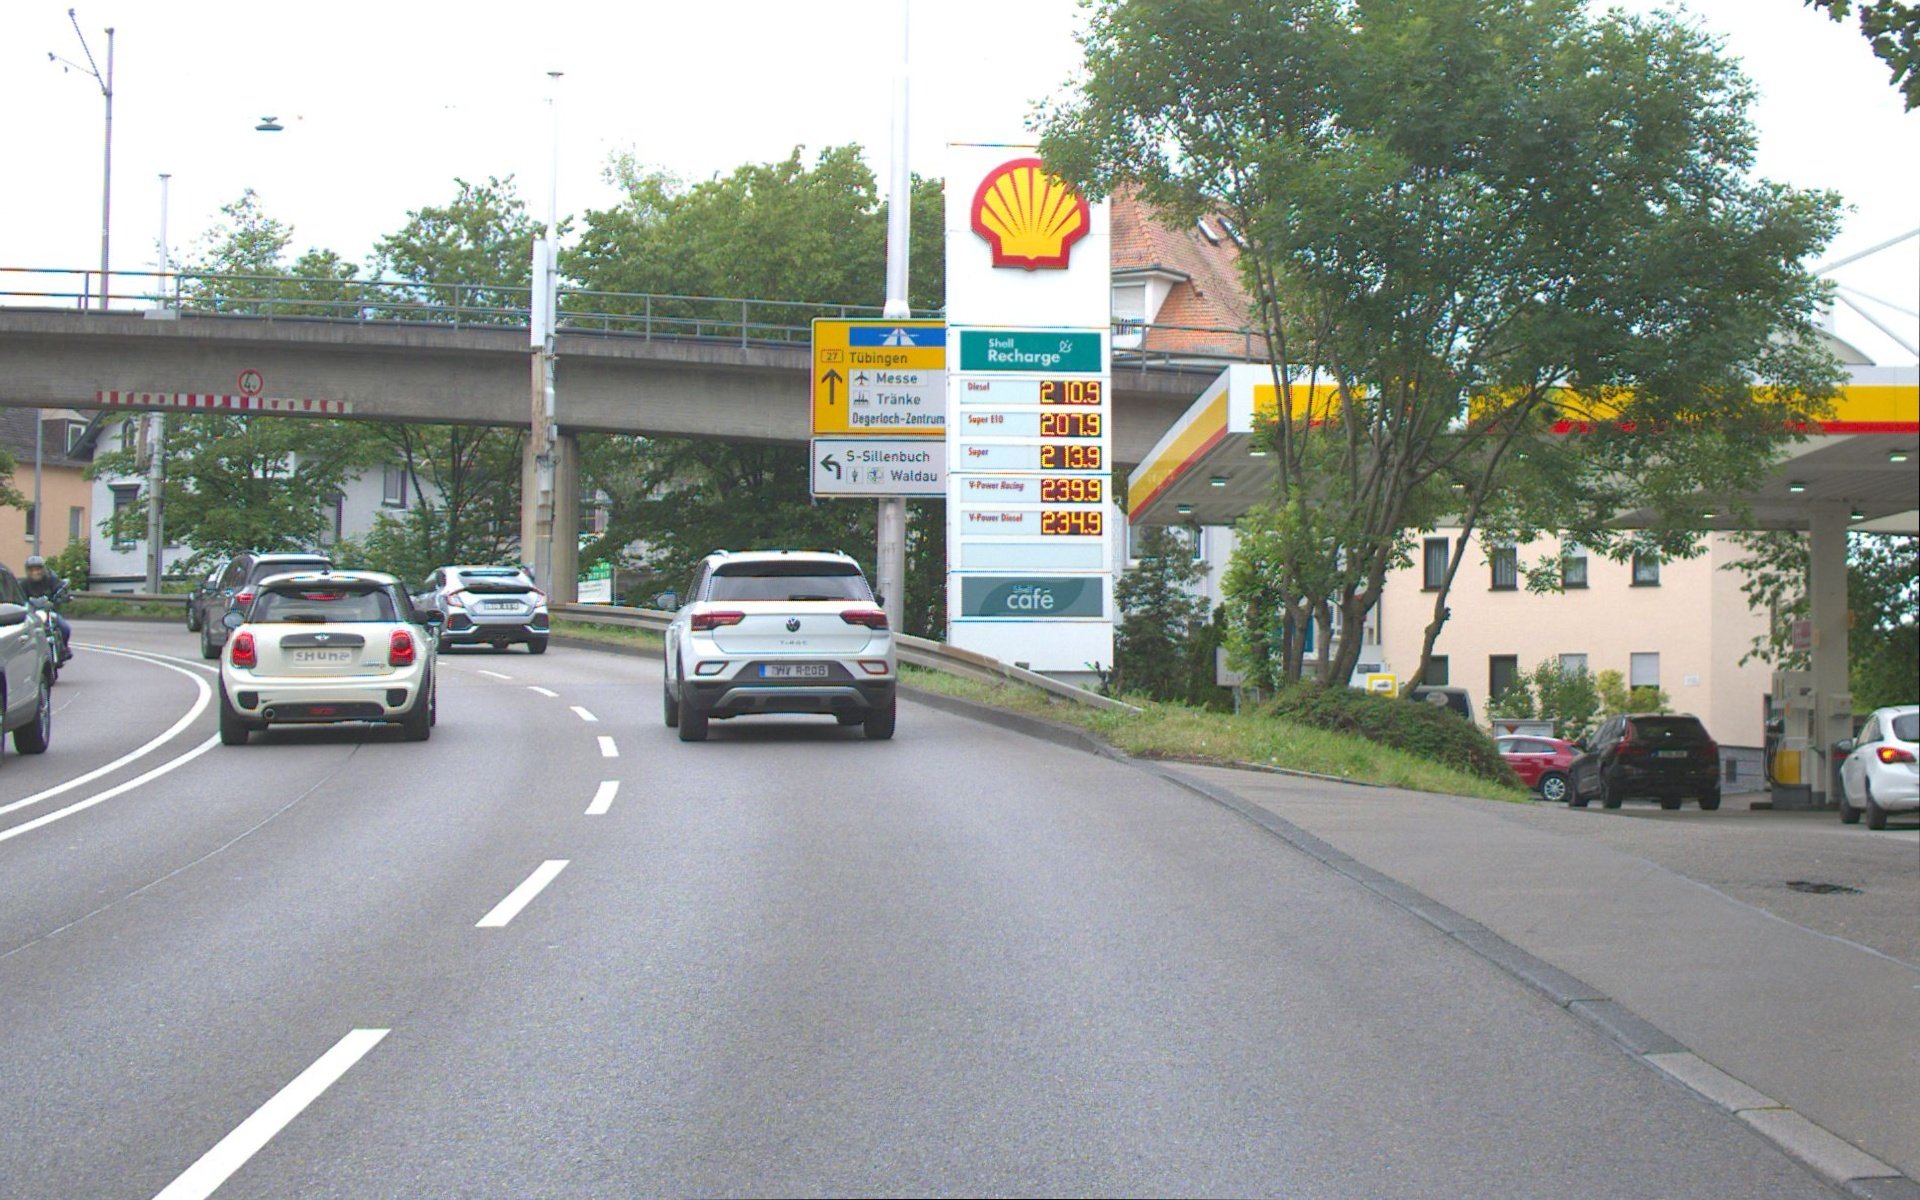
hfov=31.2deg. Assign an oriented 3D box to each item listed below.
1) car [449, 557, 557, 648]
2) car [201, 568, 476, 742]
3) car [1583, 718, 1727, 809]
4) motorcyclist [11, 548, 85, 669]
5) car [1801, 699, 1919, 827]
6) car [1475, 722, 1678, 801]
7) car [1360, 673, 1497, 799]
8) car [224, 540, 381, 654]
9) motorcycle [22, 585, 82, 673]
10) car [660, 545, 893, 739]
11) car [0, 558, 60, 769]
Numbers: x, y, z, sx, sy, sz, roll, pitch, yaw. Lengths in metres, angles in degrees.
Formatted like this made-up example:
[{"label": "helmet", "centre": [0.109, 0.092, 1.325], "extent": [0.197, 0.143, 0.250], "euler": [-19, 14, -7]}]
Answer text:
[{"label": "car", "centre": [-7.438, 0.026, 55.997], "extent": [1.675, 1.404, 3.457], "euler": [1, 0, -7]}, {"label": "car", "centre": [-5.240, 0.424, 29.351], "extent": [1.722, 1.371, 3.457], "euler": [1, 0, 0]}, {"label": "car", "centre": [11.770, 2.782, 58.438], "extent": [1.735, 1.481, 3.877], "euler": [0, -3, 1]}, {"label": "motorcyclist", "centre": [-11.530, 0.103, 43.450], "extent": [0.760, 1.480, 0.961], "euler": [-3, 1, -20]}, {"label": "car", "centre": [11.492, 1.976, 41.645], "extent": [1.735, 1.481, 3.877], "euler": [0, -3, 1]}, {"label": "car", "centre": [14.330, 3.750, 79.975], "extent": [4.296, 1.516, 1.621], "euler": [3, -2, 27]}, {"label": "car", "centre": [7.809, 2.306, 57.646], "extent": [1.735, 2.004, 4.712], "euler": [0, -3, 1]}, {"label": "car", "centre": [-9.837, -0.060, 51.625], "extent": [1.722, 1.634, 3.457], "euler": [1, 0, -1]}, {"label": "motorcycle", "centre": [-11.523, 0.374, 43.580], "extent": [0.483, 1.052, 2.269], "euler": [-4, 0, -20]}, {"label": "car", "centre": [-1.607, 0.318, 29.042], "extent": [1.796, 1.514, 3.457], "euler": [1, 0, -6]}, {"label": "car", "centre": [-7.984, 0.454, 25.851], "extent": [1.785, 1.533, 4.076], "euler": [0, 1, -6]}]
